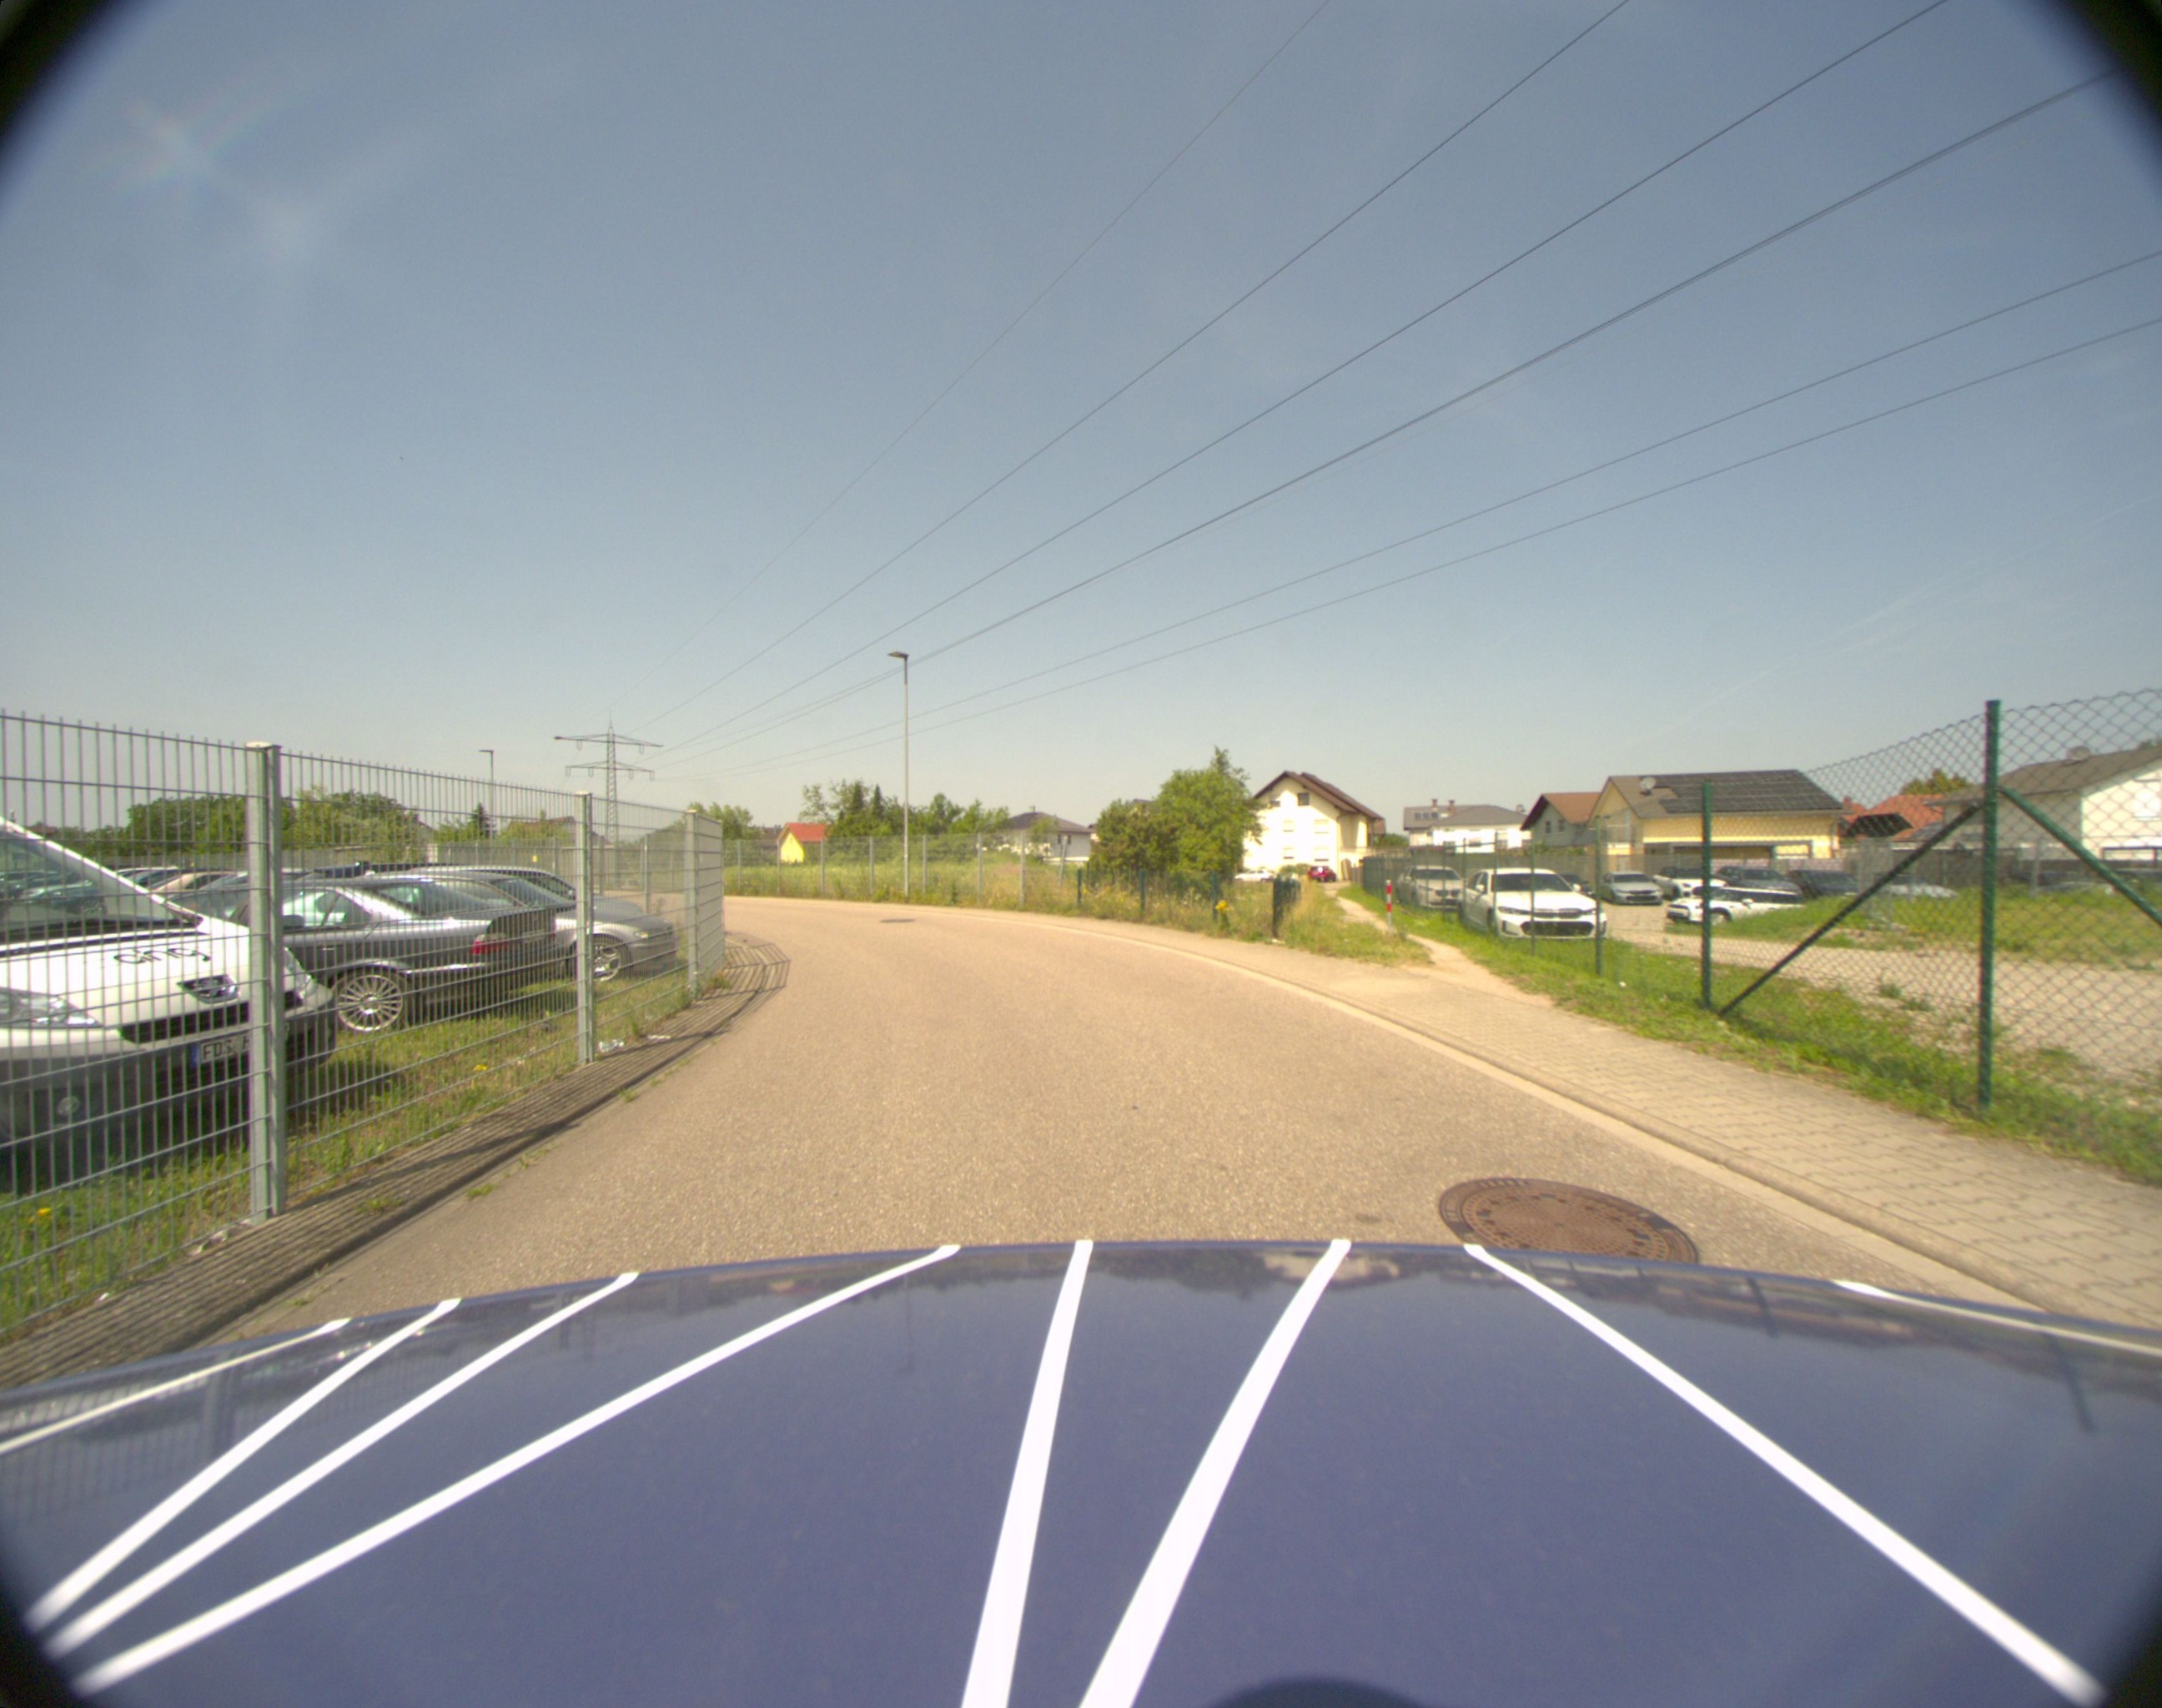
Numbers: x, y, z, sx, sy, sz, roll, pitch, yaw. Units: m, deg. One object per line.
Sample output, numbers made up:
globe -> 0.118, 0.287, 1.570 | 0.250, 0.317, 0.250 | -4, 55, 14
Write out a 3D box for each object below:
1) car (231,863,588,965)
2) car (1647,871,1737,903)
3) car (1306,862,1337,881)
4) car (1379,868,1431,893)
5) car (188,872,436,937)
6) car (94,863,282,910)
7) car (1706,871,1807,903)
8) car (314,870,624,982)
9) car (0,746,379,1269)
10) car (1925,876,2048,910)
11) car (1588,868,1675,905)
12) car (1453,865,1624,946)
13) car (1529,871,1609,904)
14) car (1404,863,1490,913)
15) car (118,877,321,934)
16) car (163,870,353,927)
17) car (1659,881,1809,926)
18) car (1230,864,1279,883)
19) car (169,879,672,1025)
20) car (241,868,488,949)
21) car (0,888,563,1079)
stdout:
car -> -11.898, 0.929, 13.814 | 1.820, 1.466, 4.561 | 0, 0, 36
car -> 28.112, 1.480, 35.111 | 1.790, 1.229, 4.140 | 0, 0, 16
car -> 22.840, 1.632, 72.067 | 1.861, 1.718, 4.143 | 0, 0, 33
car -> 15.821, 1.268, 37.261 | 1.863, 1.101, 4.009 | 0, 0, 16
car -> -19.615, 1.208, 19.594 | 1.718, 1.346, 4.205 | 0, 0, 32
car -> -32.491, 1.138, 27.793 | 1.633, 1.330, 4.184 | 0, 3, 31
car -> 30.347, 1.456, 34.304 | 1.790, 1.229, 4.140 | 0, 0, 16
car -> -9.485, 0.999, 12.013 | 1.632, 1.414, 3.482 | 0, 0, 36
car -> -7.164, 0.643, 3.730 | 5.342, 2.136, 1.906 | 0, 0, -6
car -> 38.930, 1.644, 32.787 | 1.790, 1.229, 3.613 | 0, 0, 19
car -> 25.804, 1.493, 35.794 | 2.038, 1.527, 4.140 | 0, 0, 16
car -> 9.069, 0.923, 15.516 | 1.865, 1.299, 4.568 | 0, 0, 16
car -> 23.148, 1.549, 36.234 | 2.038, 1.335, 4.422 | 0, 0, 16
car -> 12.942, 1.145, 27.144 | 2.038, 1.553, 4.443 | 0, 0, 16
car -> -24.967, 1.424, 22.158 | 1.735, 1.346, 3.682 | 0, 0, 33
car -> -22.568, 1.169, 20.948 | 1.524, 1.346, 3.285 | 0, 0, 31
car -> 21.559, 1.607, 25.230 | 3.384, 1.307, 1.661 | 0, 0, 17
car -> 16.283, 1.831, 71.513 | 4.074, 1.674, 1.869 | -1, 0, 33
car -> -7.621, 1.058, 9.356 | 4.362, 1.387, 1.613 | 0, 0, -21
car -> -15.775, 1.107, 16.926 | 1.747, 1.469, 3.668 | 2, 1, 32
car -> -7.416, 1.047, 6.851 | 4.209, 1.349, 1.614 | 0, 0, -13
